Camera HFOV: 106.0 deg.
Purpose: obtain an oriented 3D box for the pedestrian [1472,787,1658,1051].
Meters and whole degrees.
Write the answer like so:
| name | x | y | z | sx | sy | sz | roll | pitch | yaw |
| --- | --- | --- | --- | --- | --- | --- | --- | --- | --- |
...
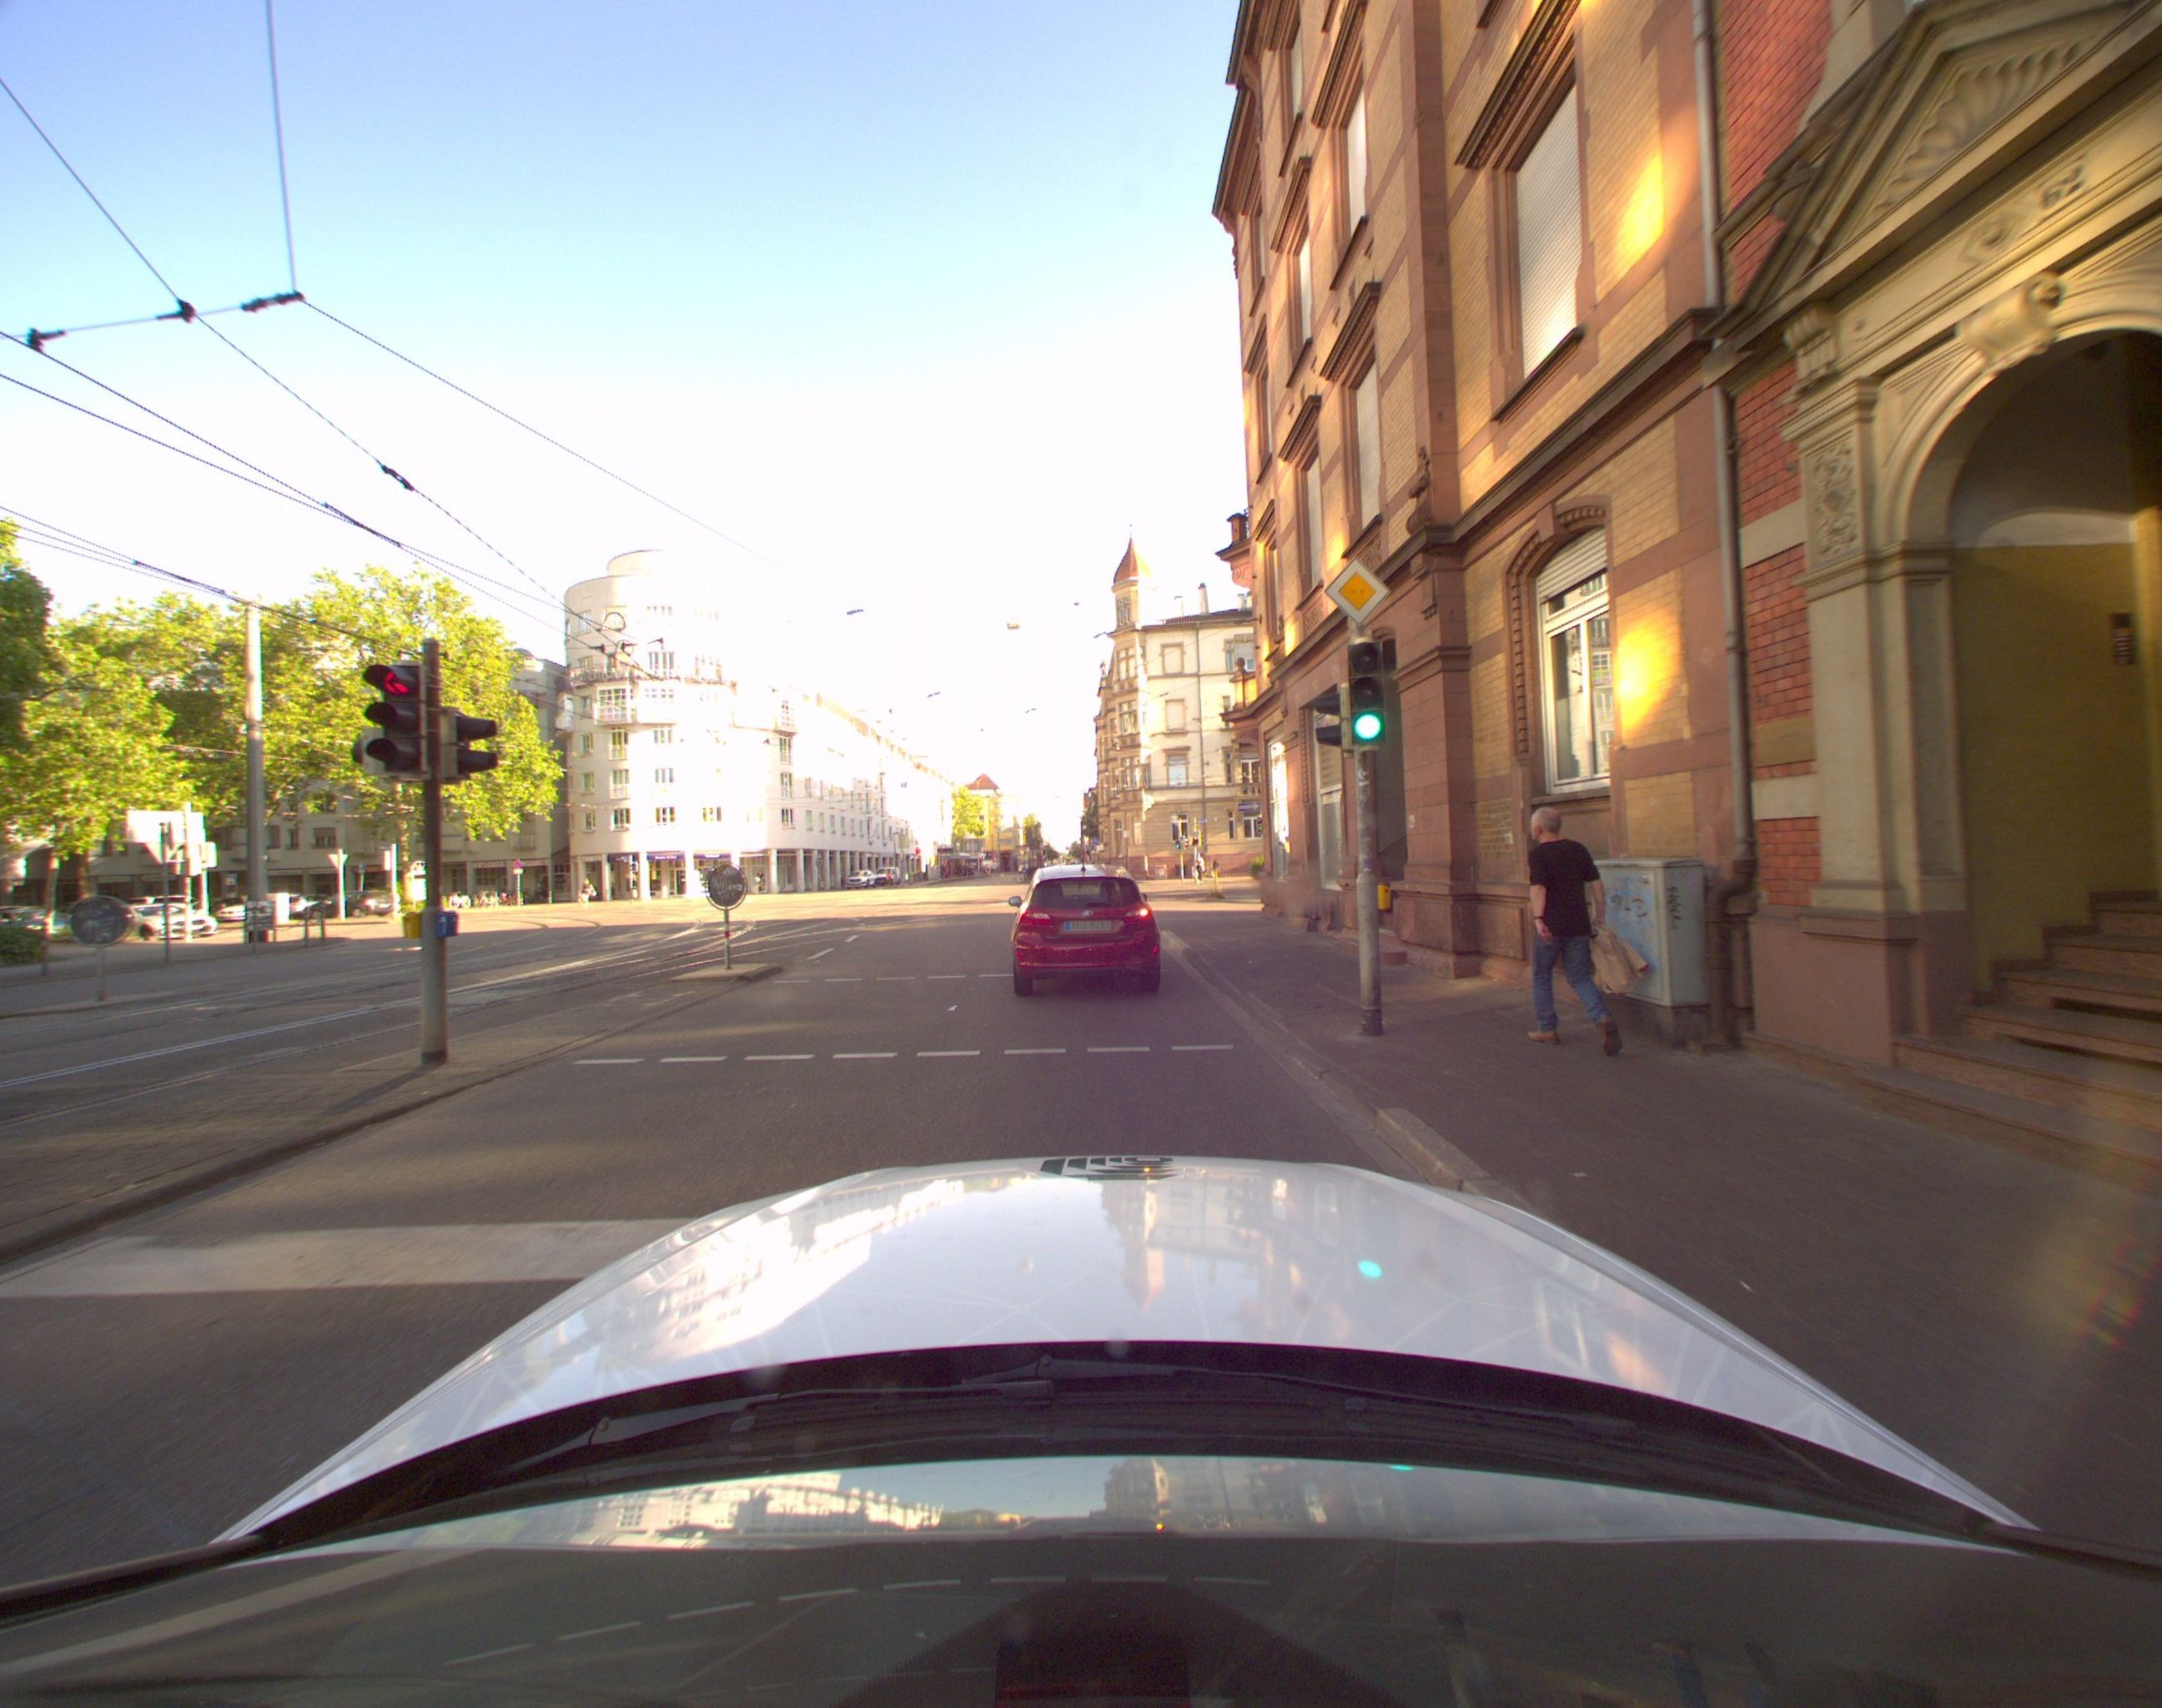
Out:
| name | x | y | z | sx | sy | sz | roll | pitch | yaw |
| --- | --- | --- | --- | --- | --- | --- | --- | --- | --- |
| pedestrian | 3.429 | 0.436 | 5.840 | 0.773 | 1.723 | 0.754 | -4 | -1 | -1 |

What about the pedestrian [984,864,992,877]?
| name | x | y | z | sx | sy | sz | roll | pitch | yaw |
| --- | --- | --- | --- | --- | --- | --- | --- | --- | --- |
| pedestrian | -13.791 | 2.493 | 120.730 | 0.880 | 1.905 | 0.929 | -2 | -1 | -17 |

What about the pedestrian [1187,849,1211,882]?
| name | x | y | z | sx | sy | sz | roll | pitch | yaw |
| --- | --- | --- | --- | --- | --- | --- | --- | --- | --- |
| pedestrian | 6.558 | 0.648 | 45.362 | 1.021 | 1.807 | 1.081 | -2 | -1 | -4 |

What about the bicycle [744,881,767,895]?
| name | x | y | z | sx | sy | sz | roll | pitch | yaw |
| --- | --- | --- | --- | --- | --- | --- | --- | --- | --- |
| bicycle | -24.395 | 2.514 | 61.075 | 0.839 | 0.927 | 2.263 | -2 | 0 | -2 |

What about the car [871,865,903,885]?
| name | x | y | z | sx | sy | sz | roll | pitch | yaw |
| --- | --- | --- | --- | --- | --- | --- | --- | --- | --- |
| car | -19.629 | 2.093 | 82.486 | 1.988 | 1.837 | 5.343 | -2 | -1 | -1 |

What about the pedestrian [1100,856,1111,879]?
| name | x | y | z | sx | sy | sz | roll | pitch | yaw |
| --- | --- | --- | --- | --- | --- | --- | --- | --- | --- |
| pedestrian | 2.062 | 1.150 | 69.682 | 0.798 | 1.824 | 0.797 | -4 | 0 | -1 |

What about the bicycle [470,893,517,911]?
| name | x | y | z | sx | sy | sz | roll | pitch | yaw |
| --- | --- | --- | --- | --- | --- | --- | --- | --- | --- |
| bicycle | -40.976 | 3.316 | 56.841 | 2.440 | 1.107 | 0.933 | -2 | -1 | -15 |

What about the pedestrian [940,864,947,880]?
| name | x | y | z | sx | sy | sz | roll | pitch | yaw |
| --- | --- | --- | --- | --- | --- | --- | --- | --- | --- |
| pedestrian | -14.475 | 1.858 | 85.589 | 0.597 | 1.691 | 0.613 | -2 | -1 | -1 |

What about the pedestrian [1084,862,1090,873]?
| name | x | y | z | sx | sy | sz | roll | pitch | yaw |
| --- | --- | --- | --- | --- | --- | --- | --- | --- | --- |
| pedestrian | 0.944 | 2.132 | 131.456 | 0.712 | 1.774 | 0.772 | -5 | 0 | -4 |

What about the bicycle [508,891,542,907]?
| name | x | y | z | sx | sy | sz | roll | pitch | yaw |
| --- | --- | --- | --- | --- | --- | --- | --- | --- | --- |
| bicycle | -41.414 | 3.359 | 60.700 | 1.934 | 1.107 | 0.819 | -2 | -1 | 1 |

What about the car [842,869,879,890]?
| name | x | y | z | sx | sy | sz | roll | pitch | yaw |
| --- | --- | --- | --- | --- | --- | --- | --- | --- | --- |
| car | -19.490 | 2.240 | 72.187 | 1.988 | 1.620 | 4.508 | -2 | -1 | -1 |

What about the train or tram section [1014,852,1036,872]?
| name | x | y | z | sx | sy | sz | roll | pitch | yaw |
| --- | --- | --- | --- | --- | --- | --- | --- | --- | --- |
| train or tram section | -10.114 | 1.479 | 149.003 | 2.875 | 3.490 | 14.166 | -2 | -1 | 0 |

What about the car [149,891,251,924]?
| name | x | y | z | sx | sy | sz | roll | pitch | yaw |
| --- | --- | --- | --- | --- | --- | --- | --- | --- | --- |
| car | -52.700 | 3.155 | 48.822 | 1.790 | 1.715 | 3.996 | -2 | -1 | -2 |

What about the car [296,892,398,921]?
| name | x | y | z | sx | sy | sz | roll | pitch | yaw |
| --- | --- | --- | --- | --- | --- | --- | --- | --- | --- |
| car | -44.106 | 3.120 | 48.970 | 4.423 | 1.421 | 1.892 | -3 | 0 | 3 |

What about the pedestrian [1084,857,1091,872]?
| name | x | y | z | sx | sy | sz | roll | pitch | yaw |
| --- | --- | --- | --- | --- | --- | --- | --- | --- | --- |
| pedestrian | 0.782 | 1.234 | 97.183 | 0.760 | 1.645 | 0.832 | -4 | 0 | -1 |

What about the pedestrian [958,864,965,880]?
| name | x | y | z | sx | sy | sz | roll | pitch | yaw |
| --- | --- | --- | --- | --- | --- | --- | --- | --- | --- |
| pedestrian | -14.170 | 2.115 | 96.375 | 0.694 | 1.905 | 0.671 | -2 | -1 | -4 |

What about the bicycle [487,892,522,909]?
| name | x | y | z | sx | sy | sz | roll | pitch | yaw |
| --- | --- | --- | --- | --- | --- | --- | --- | --- | --- |
| bicycle | -41.378 | 3.349 | 58.482 | 1.933 | 1.107 | 0.820 | -2 | -1 | 4 |

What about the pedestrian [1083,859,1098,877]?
| name | x | y | z | sx | sy | sz | roll | pitch | yaw |
| --- | --- | --- | --- | --- | --- | --- | --- | --- | --- |
| pedestrian | 0.769 | 1.130 | 65.261 | 0.710 | 1.331 | 0.801 | -6 | -3 | 44 |

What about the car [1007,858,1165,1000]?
| name | x | y | z | sx | sy | sz | roll | pitch | yaw |
| --- | --- | --- | --- | --- | --- | --- | --- | --- | --- |
| car | -0.017 | 0.819 | 10.503 | 1.688 | 1.495 | 3.576 | 0 | -1 | -3 |

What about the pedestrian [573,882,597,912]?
| name | x | y | z | sx | sy | sz | roll | pitch | yaw |
| --- | --- | --- | --- | --- | --- | --- | --- | --- | --- |
| pedestrian | -28.711 | 2.476 | 47.134 | 0.863 | 1.681 | 0.698 | -3 | 1 | 7 |

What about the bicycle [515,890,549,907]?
| name | x | y | z | sx | sy | sz | roll | pitch | yaw |
| --- | --- | --- | --- | --- | --- | --- | --- | --- | --- |
| bicycle | -41.489 | 3.364 | 61.566 | 1.934 | 1.107 | 0.819 | -2 | -1 | 1 |

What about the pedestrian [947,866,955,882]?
| name | x | y | z | sx | sy | sz | roll | pitch | yaw |
| --- | --- | --- | --- | --- | --- | --- | --- | --- | --- |
| pedestrian | -14.683 | 2.236 | 91.656 | 0.699 | 1.691 | 0.667 | -2 | -1 | -25 |

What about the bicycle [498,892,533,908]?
| name | x | y | z | sx | sy | sz | roll | pitch | yaw |
| --- | --- | --- | --- | --- | --- | --- | --- | --- | --- |
| bicycle | -41.301 | 3.350 | 59.471 | 1.933 | 1.107 | 0.820 | -2 | -1 | 4 |

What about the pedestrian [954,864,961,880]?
| name | x | y | z | sx | sy | sz | roll | pitch | yaw |
| --- | --- | --- | --- | --- | --- | --- | --- | --- | --- |
| pedestrian | -14.450 | 2.101 | 95.501 | 0.694 | 1.905 | 0.671 | -2 | -1 | -4 |

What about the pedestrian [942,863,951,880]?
| name | x | y | z | sx | sy | sz | roll | pitch | yaw |
| --- | --- | --- | --- | --- | --- | --- | --- | --- | --- |
| pedestrian | -14.484 | 1.899 | 87.593 | 0.756 | 1.733 | 0.523 | -3 | -2 | 41 |

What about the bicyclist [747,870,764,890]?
| name | x | y | z | sx | sy | sz | roll | pitch | yaw |
| --- | --- | --- | --- | --- | --- | --- | --- | --- | --- |
| bicyclist | -24.406 | 1.967 | 61.045 | 0.839 | 1.467 | 0.895 | -2 | -1 | -3 |

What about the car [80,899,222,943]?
| name | x | y | z | sx | sy | sz | roll | pitch | yaw |
| --- | --- | --- | --- | --- | --- | --- | --- | --- | --- |
| car | -36.249 | 2.595 | 31.764 | 4.408 | 1.421 | 1.899 | -3 | -1 | 15 |

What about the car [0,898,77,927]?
| name | x | y | z | sx | sy | sz | roll | pitch | yaw |
| --- | --- | --- | --- | --- | --- | --- | --- | --- | --- |
| car | -71.221 | 3.933 | 55.030 | 1.790 | 1.715 | 3.996 | -2 | -1 | -2 |

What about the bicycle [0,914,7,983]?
| name | x | y | z | sx | sy | sz | roll | pitch | yaw |
| --- | --- | --- | --- | --- | --- | --- | --- | --- | --- |
| bicycle | -19.799 | 1.694 | 13.823 | 0.578 | 1.235 | 1.859 | -1 | -1 | 5 |

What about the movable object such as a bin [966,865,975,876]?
| name | x | y | z | sx | sy | sz | roll | pitch | yaw |
| --- | --- | --- | --- | --- | --- | --- | --- | --- | --- |
| movable object such as a bin | -14.117 | 2.097 | 104.187 | 0.935 | 1.287 | 0.934 | -2 | -1 | -3 |

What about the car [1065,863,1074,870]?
| name | x | y | z | sx | sy | sz | roll | pitch | yaw |
| --- | --- | --- | --- | --- | --- | --- | --- | --- | --- |
| car | -2.672 | 2.791 | 186.373 | 1.988 | 1.449 | 3.998 | -2 | -1 | -1 |

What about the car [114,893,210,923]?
| name | x | y | z | sx | sy | sz | roll | pitch | yaw |
| --- | --- | --- | --- | --- | --- | --- | --- | --- | --- |
| car | -60.297 | 3.505 | 53.543 | 1.790 | 1.715 | 3.996 | -2 | -1 | -2 |

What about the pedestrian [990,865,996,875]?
| name | x | y | z | sx | sy | sz | roll | pitch | yaw |
| --- | --- | --- | --- | --- | --- | --- | --- | --- | --- |
| pedestrian | -16.451 | 3.041 | 152.270 | 0.880 | 1.905 | 0.929 | -2 | -1 | -17 |

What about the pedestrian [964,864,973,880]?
| name | x | y | z | sx | sy | sz | roll | pitch | yaw |
| --- | --- | --- | --- | --- | --- | --- | --- | --- | --- |
| pedestrian | -13.502 | 2.137 | 97.886 | 0.930 | 1.905 | 0.880 | -2 | -1 | -4 |

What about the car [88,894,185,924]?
| name | x | y | z | sx | sy | sz | roll | pitch | yaw |
| --- | --- | --- | --- | --- | --- | --- | --- | --- | --- |
| car | -62.461 | 3.611 | 53.959 | 1.790 | 1.715 | 3.996 | -2 | -1 | -2 |

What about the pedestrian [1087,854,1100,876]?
| name | x | y | z | sx | sy | sz | roll | pitch | yaw |
| --- | --- | --- | --- | --- | --- | --- | --- | --- | --- |
| pedestrian | 1.017 | 0.935 | 66.113 | 0.795 | 1.721 | 0.716 | -3 | -2 | -14 |
